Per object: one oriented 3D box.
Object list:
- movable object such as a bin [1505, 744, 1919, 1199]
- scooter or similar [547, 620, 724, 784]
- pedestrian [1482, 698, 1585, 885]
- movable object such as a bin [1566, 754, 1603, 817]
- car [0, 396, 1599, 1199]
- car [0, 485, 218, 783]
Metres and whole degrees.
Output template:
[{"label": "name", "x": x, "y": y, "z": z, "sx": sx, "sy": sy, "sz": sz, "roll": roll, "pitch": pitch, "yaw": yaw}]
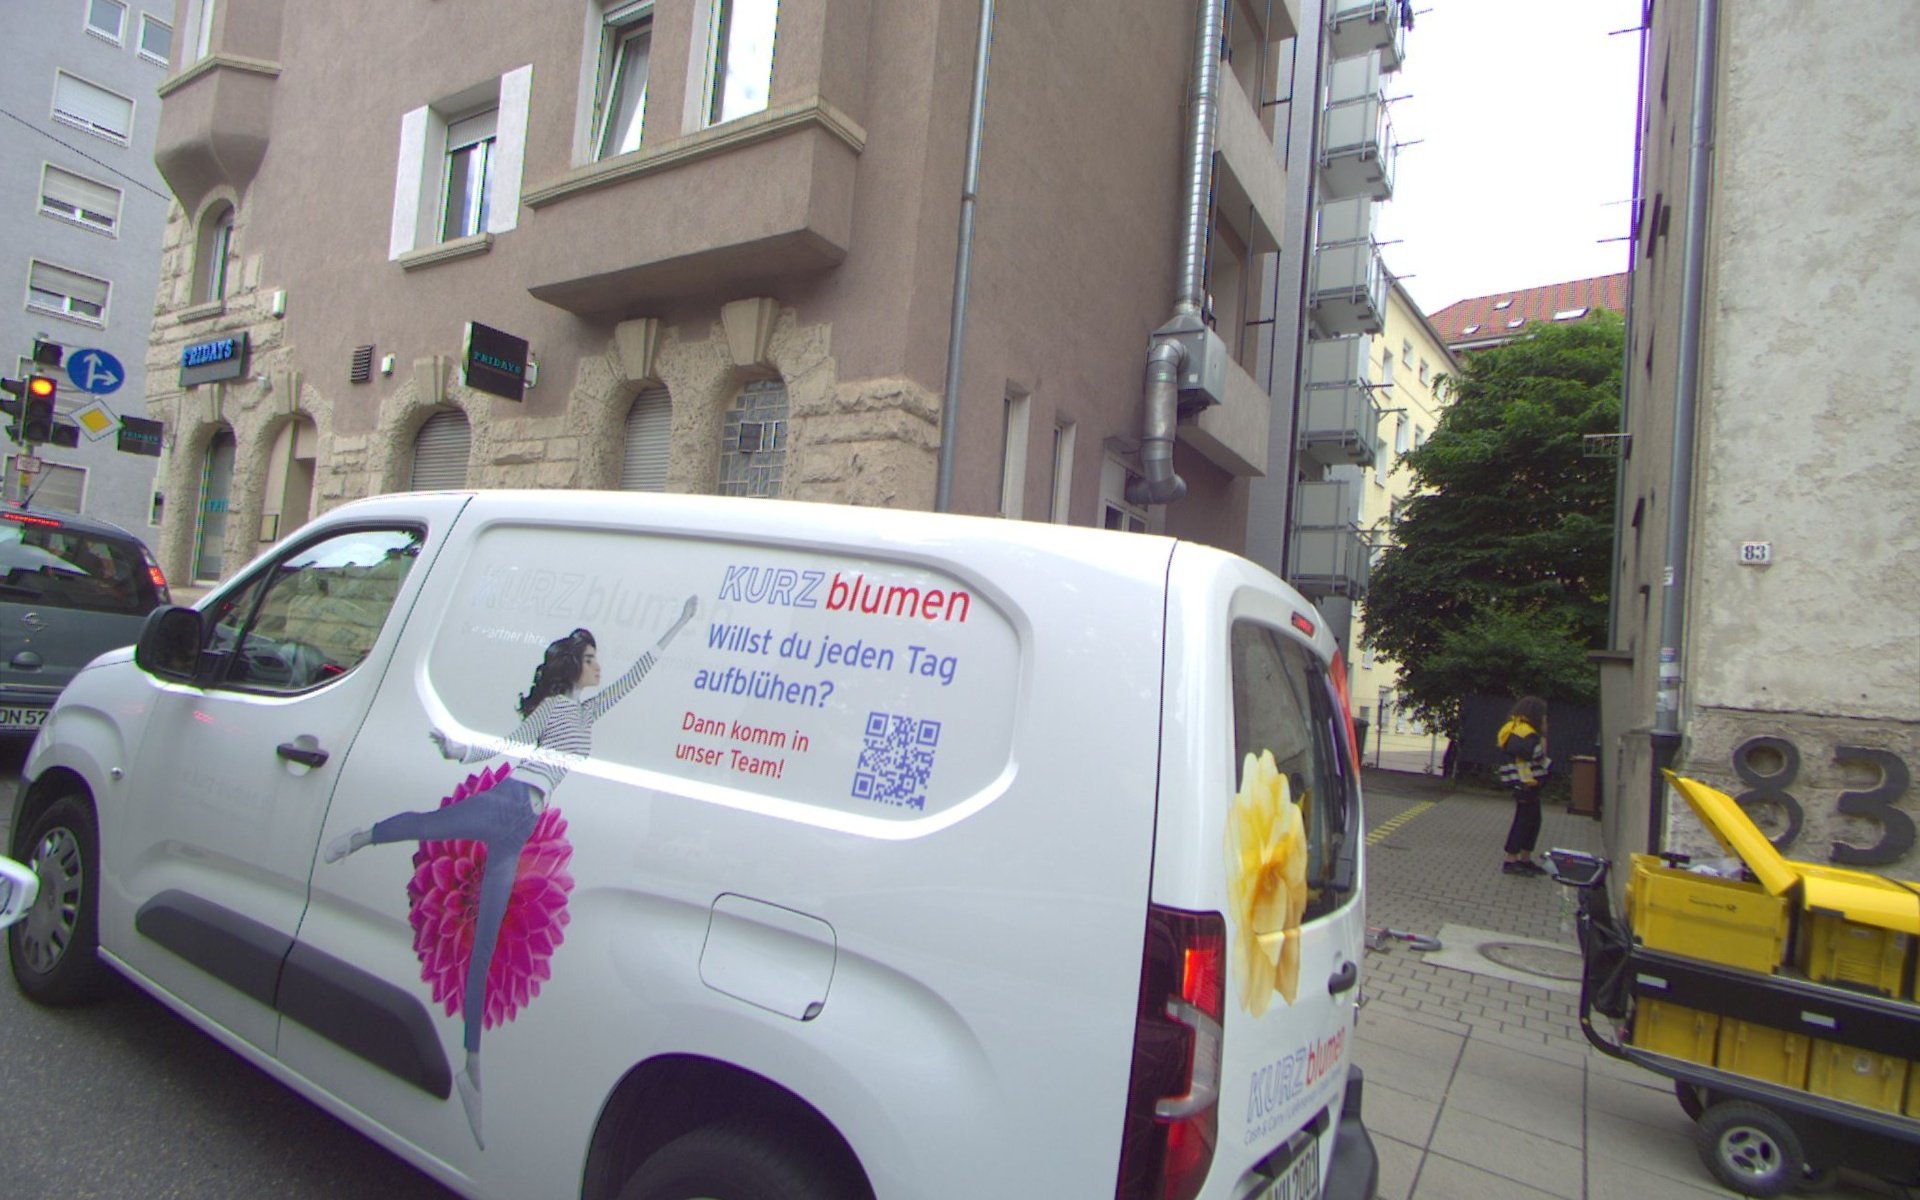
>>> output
[{"label": "movable object such as a bin", "x": 3.359, "y": 1.455, "z": 3.979, "sx": 1.979, "sy": 1.391, "sz": 1.223, "roll": 6, "pitch": 0, "yaw": 30}, {"label": "scooter or similar", "x": -2.682, "y": 0.812, "z": 8.277, "sx": 1.400, "sy": 1.117, "sz": 0.527, "roll": 6, "pitch": -1, "yaw": 34}, {"label": "pedestrian", "x": 5.551, "y": 1.810, "z": 9.779, "sx": 0.770, "sy": 1.665, "sz": 0.811, "roll": 1, "pitch": -3, "yaw": 24}, {"label": "movable object such as a bin", "x": 9.926, "y": 2.941, "z": 15.989, "sx": 0.405, "sy": 0.922, "sz": 0.340, "roll": 6, "pitch": -1, "yaw": 32}, {"label": "car", "x": -0.905, "y": 0.590, "z": 3.111, "sx": 4.597, "sy": 1.793, "sz": 1.983, "roll": 6, "pitch": -5, "yaw": 30}, {"label": "car", "x": -6.716, "y": 0.048, "z": 6.537, "sx": 3.608, "sy": 1.614, "sz": 1.634, "roll": 6, "pitch": -5, "yaw": 32}]
